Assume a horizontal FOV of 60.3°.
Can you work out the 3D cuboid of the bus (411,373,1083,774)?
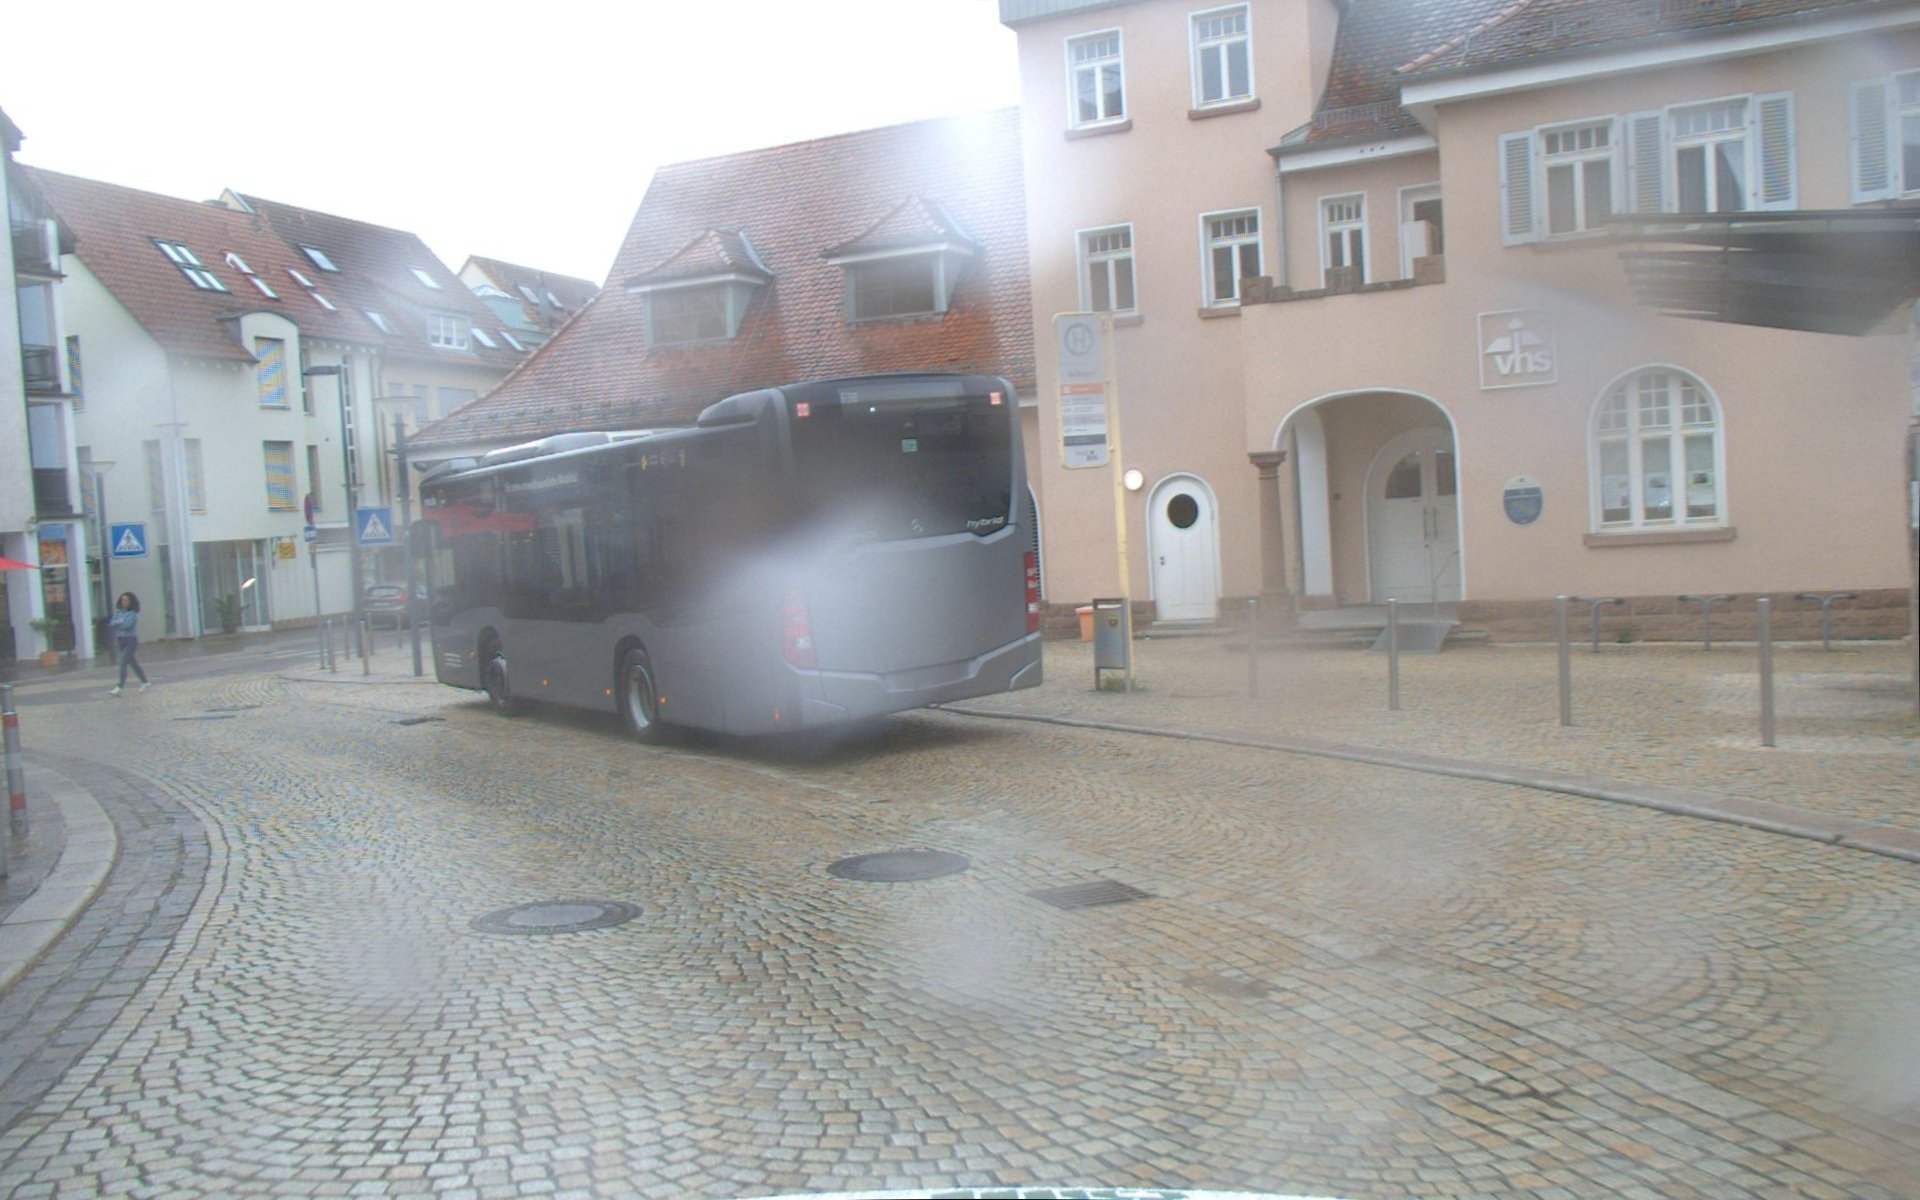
[{"bbox_3d":[-3.002,-0.296,17.717,2.755,3.041,10.435,-5,3,-33],"label":"bus"}]

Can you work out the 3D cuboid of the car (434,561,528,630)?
[{"bbox_3d":[-16.832,-0.196,58.329,1.952,2.047,4.003,-2,4,2],"label":"car"}]

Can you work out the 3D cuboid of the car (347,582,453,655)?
[{"bbox_3d":[-17.664,0.543,52.364,1.953,1.895,4.001,-3,4,-1],"label":"car"}]

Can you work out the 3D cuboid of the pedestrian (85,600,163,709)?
[{"bbox_3d":[-14.232,0.918,28.173,0.746,1.762,0.784,-1,4,24],"label":"pedestrian"}]
